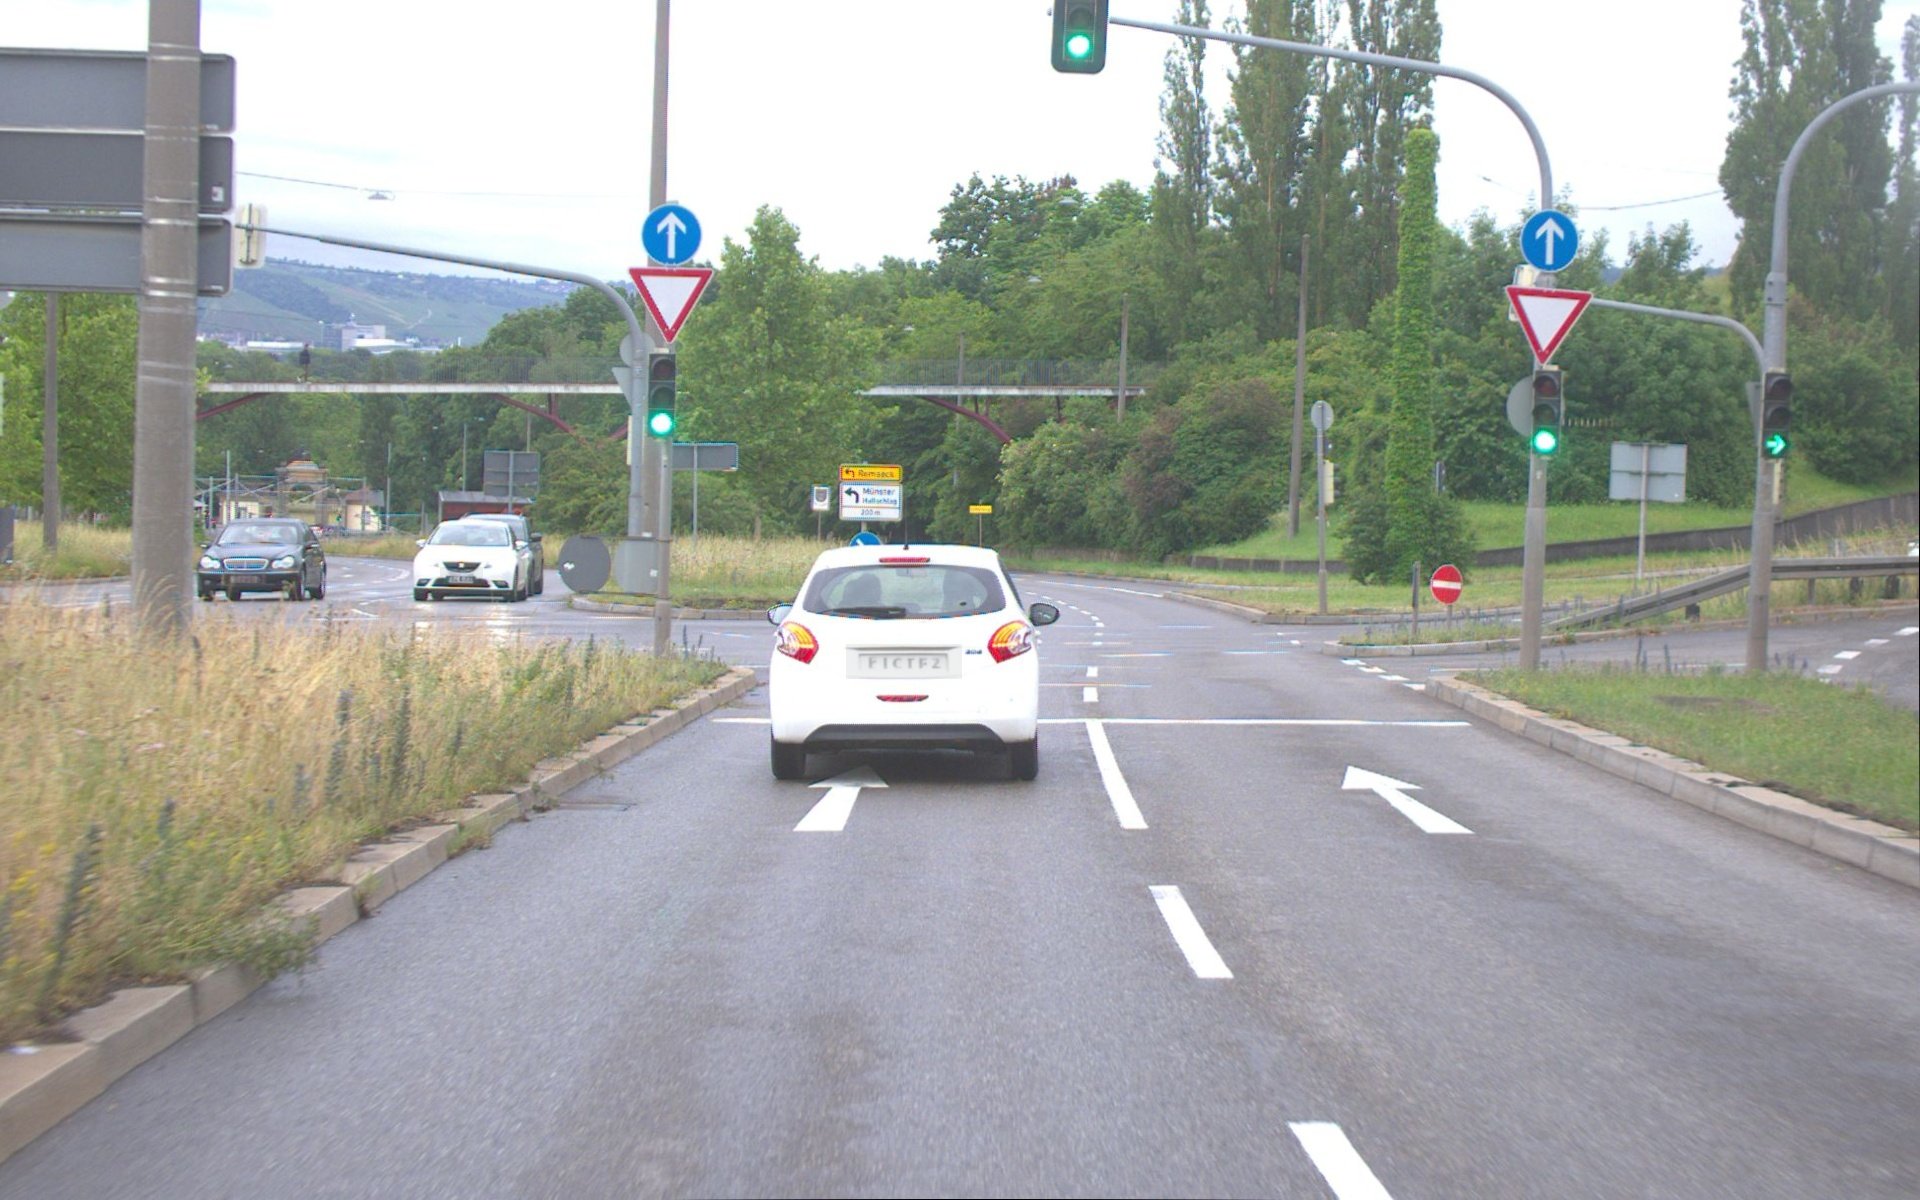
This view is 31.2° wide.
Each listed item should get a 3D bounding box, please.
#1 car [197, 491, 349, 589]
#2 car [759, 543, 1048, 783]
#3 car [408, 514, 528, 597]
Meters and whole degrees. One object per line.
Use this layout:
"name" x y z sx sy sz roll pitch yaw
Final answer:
"car" -11.621 -0.995 58.386 1.895 1.532 4.000 2 0 -3
"car" -0.294 0.372 22.587 1.708 1.435 3.690 0 0 2
"car" -8.644 -0.765 60.640 1.737 1.368 4.000 2 0 -3
